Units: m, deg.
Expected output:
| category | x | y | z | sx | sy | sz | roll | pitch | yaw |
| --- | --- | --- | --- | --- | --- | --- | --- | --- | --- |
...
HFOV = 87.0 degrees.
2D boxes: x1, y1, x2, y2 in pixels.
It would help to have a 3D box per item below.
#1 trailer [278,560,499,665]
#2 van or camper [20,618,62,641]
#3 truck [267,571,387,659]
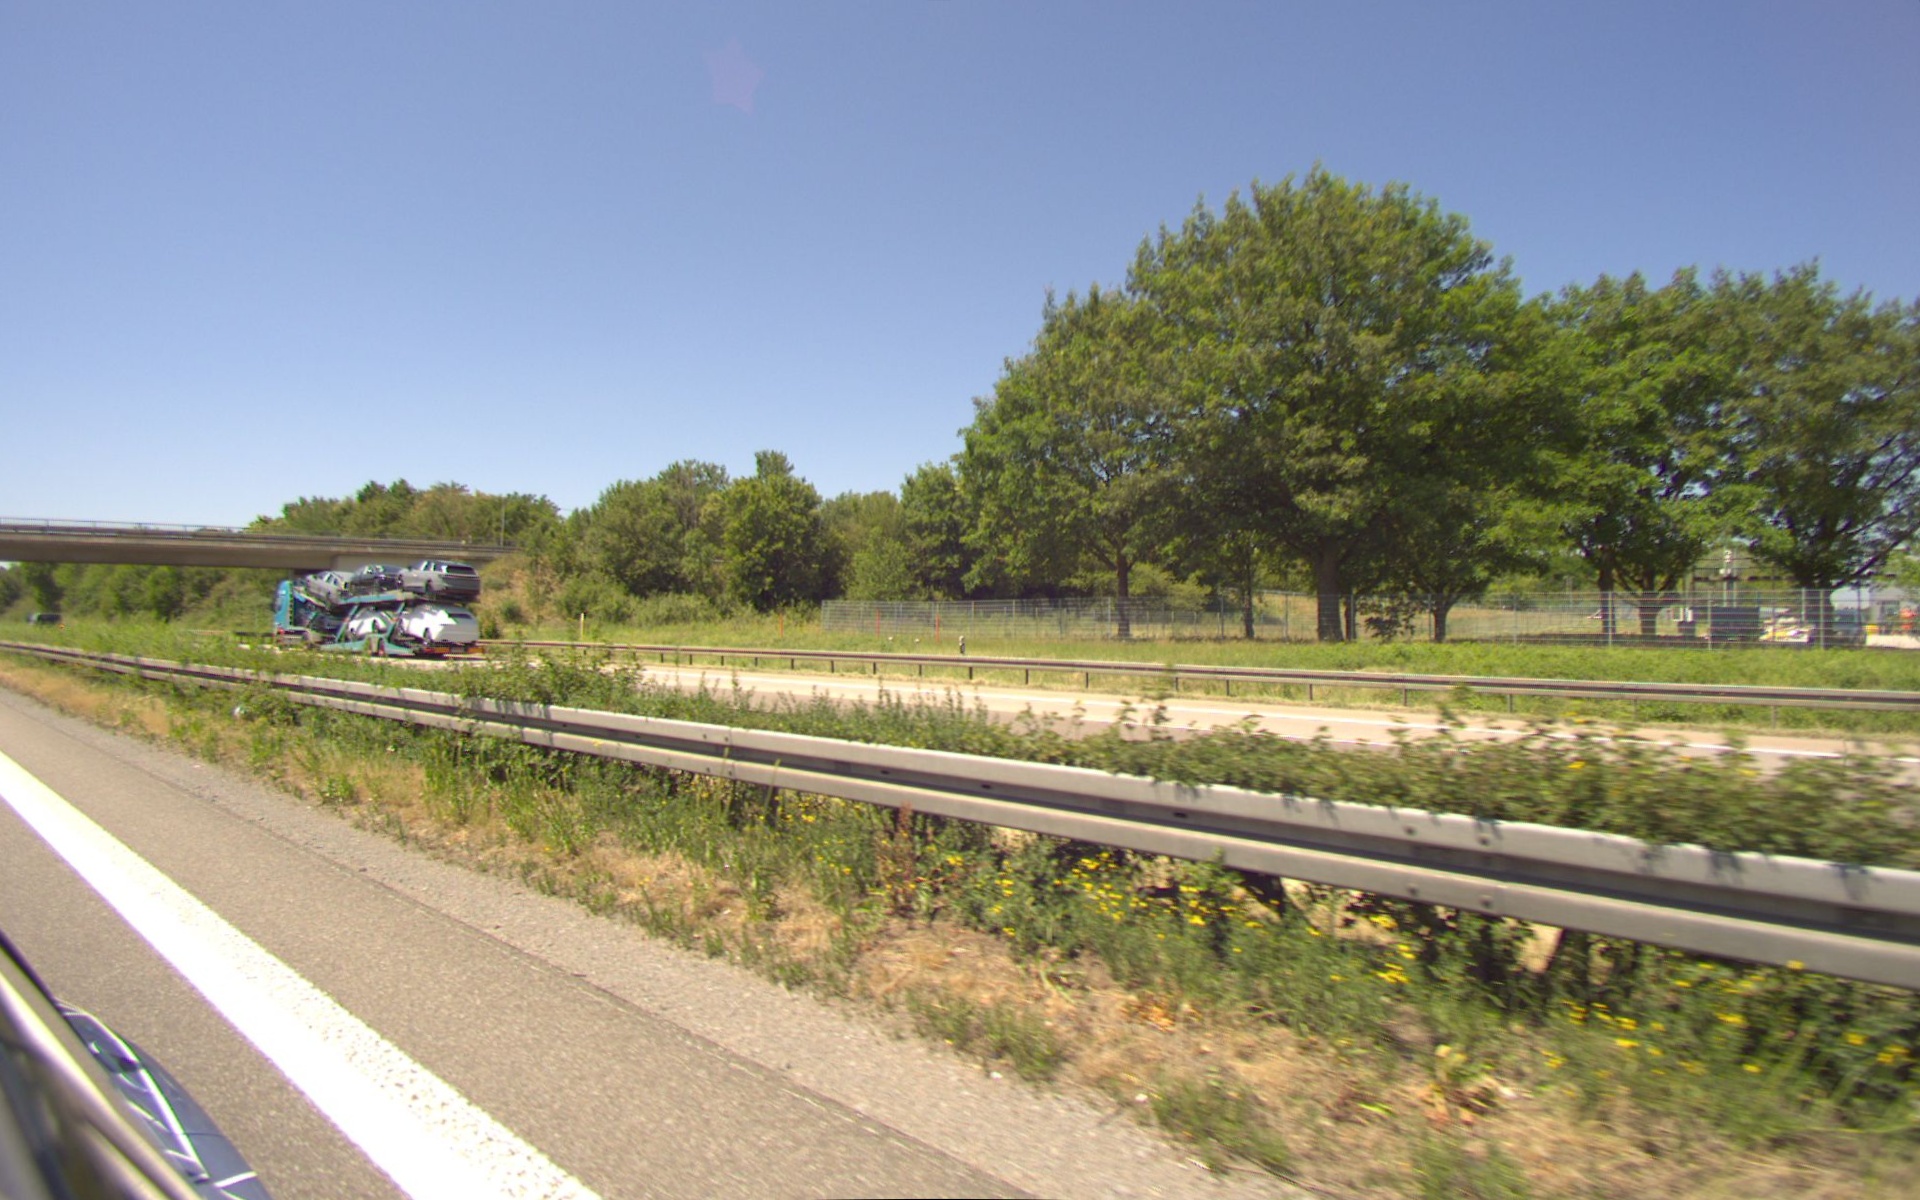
| category | x | y | z | sx | sy | sz | roll | pitch | yaw |
| --- | --- | --- | --- | --- | --- | --- | --- | --- | --- |
| trailer | -26.394 | 0.661 | 45.860 | 17.464 | 4.009 | 2.849 | -1 | -4 | 41 |
| van or camper | -77.408 | 2.503 | 85.246 | 4.452 | 1.884 | 1.973 | -1 | -3 | 40 |
| truck | -31.570 | 0.809 | 50.347 | 7.368 | 4.006 | 2.849 | -1 | -4 | 41 |
